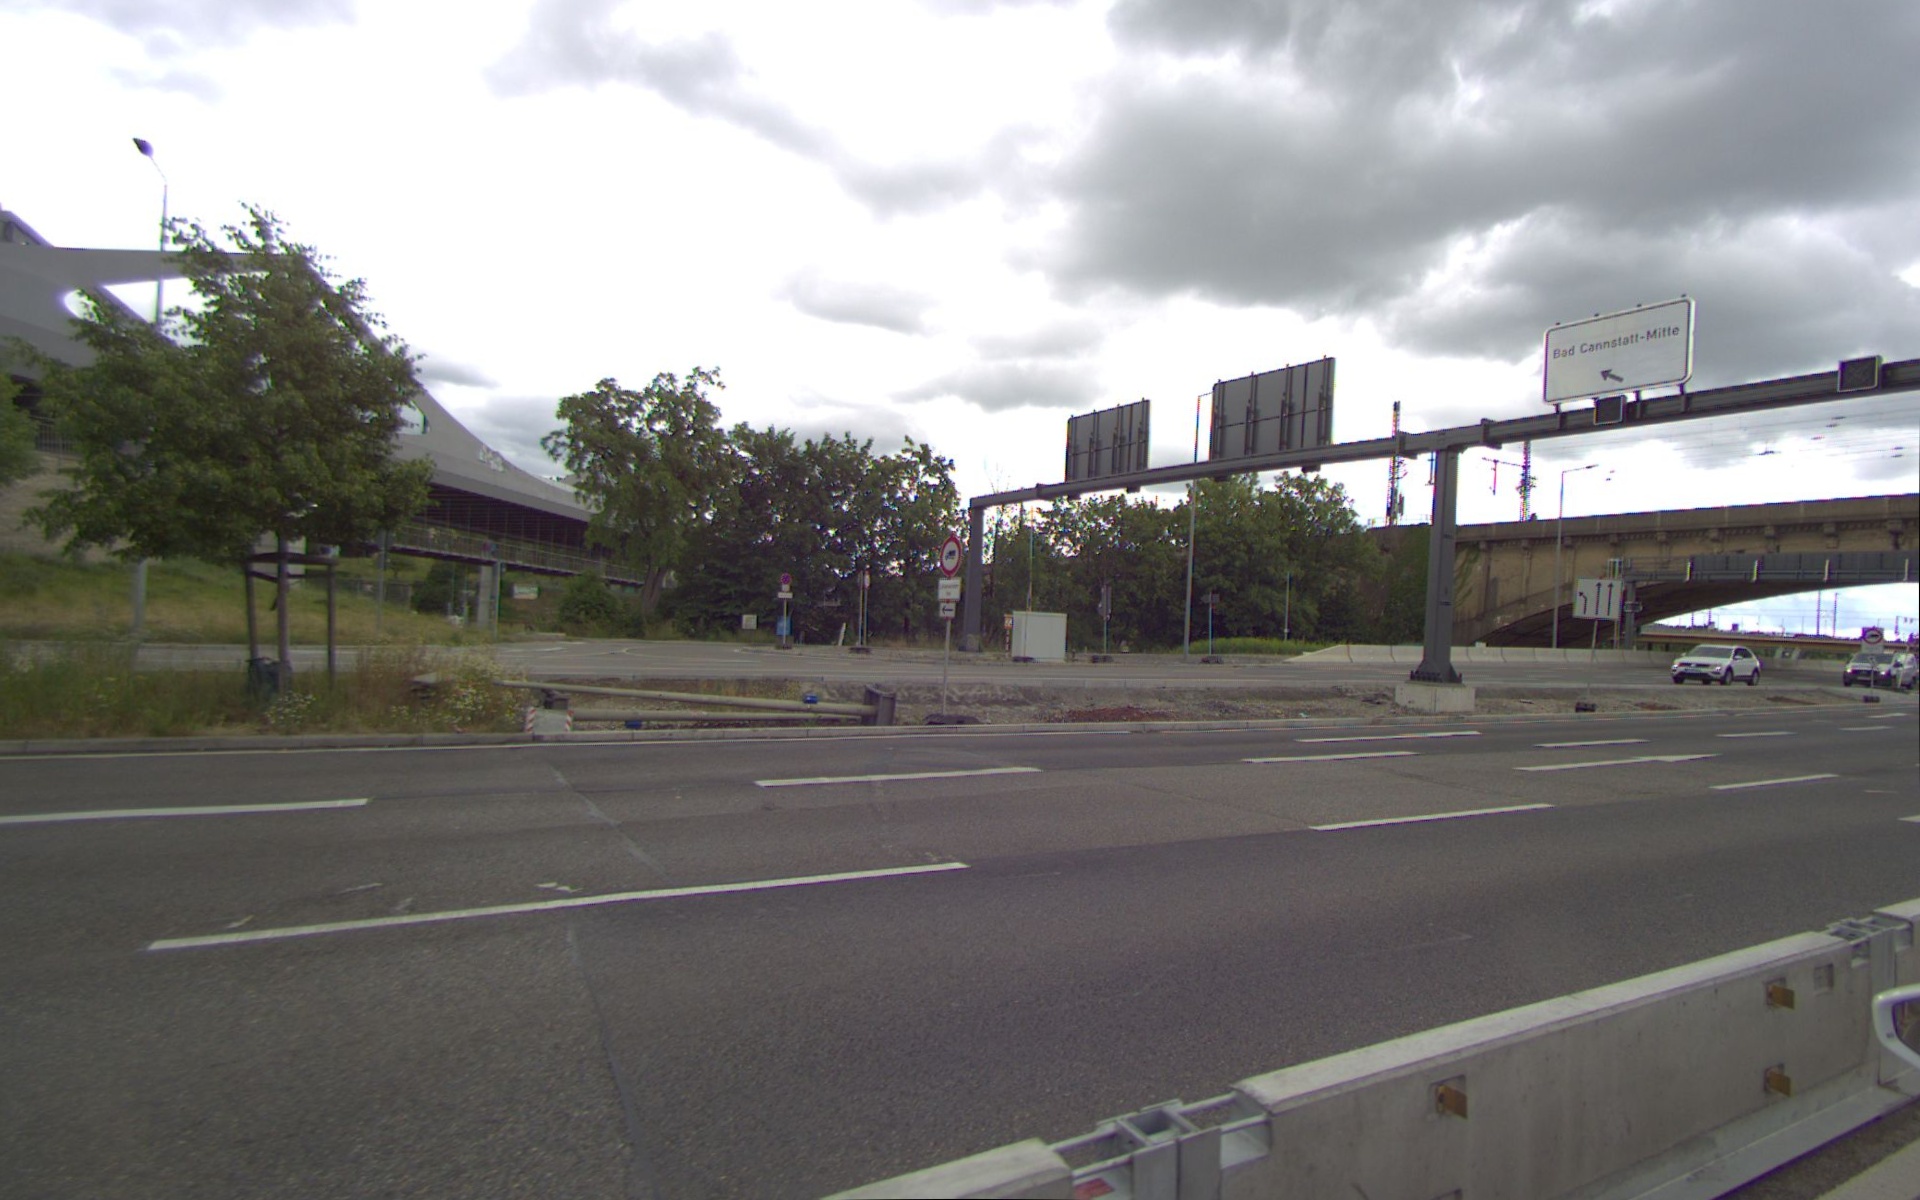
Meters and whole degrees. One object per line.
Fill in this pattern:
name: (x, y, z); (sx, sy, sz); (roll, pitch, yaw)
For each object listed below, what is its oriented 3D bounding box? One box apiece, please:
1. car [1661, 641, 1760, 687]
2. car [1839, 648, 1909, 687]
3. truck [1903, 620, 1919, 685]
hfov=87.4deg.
car: (30.091, 2.576, 40.248); (4.241, 1.684, 1.790); (3, -1, -32)
car: (46.293, 3.402, 50.856); (3.762, 1.831, 1.814); (3, -1, -34)
truck: (68.077, 3.690, 67.550); (13.824, 4.115, 2.885); (3, -1, -30)
